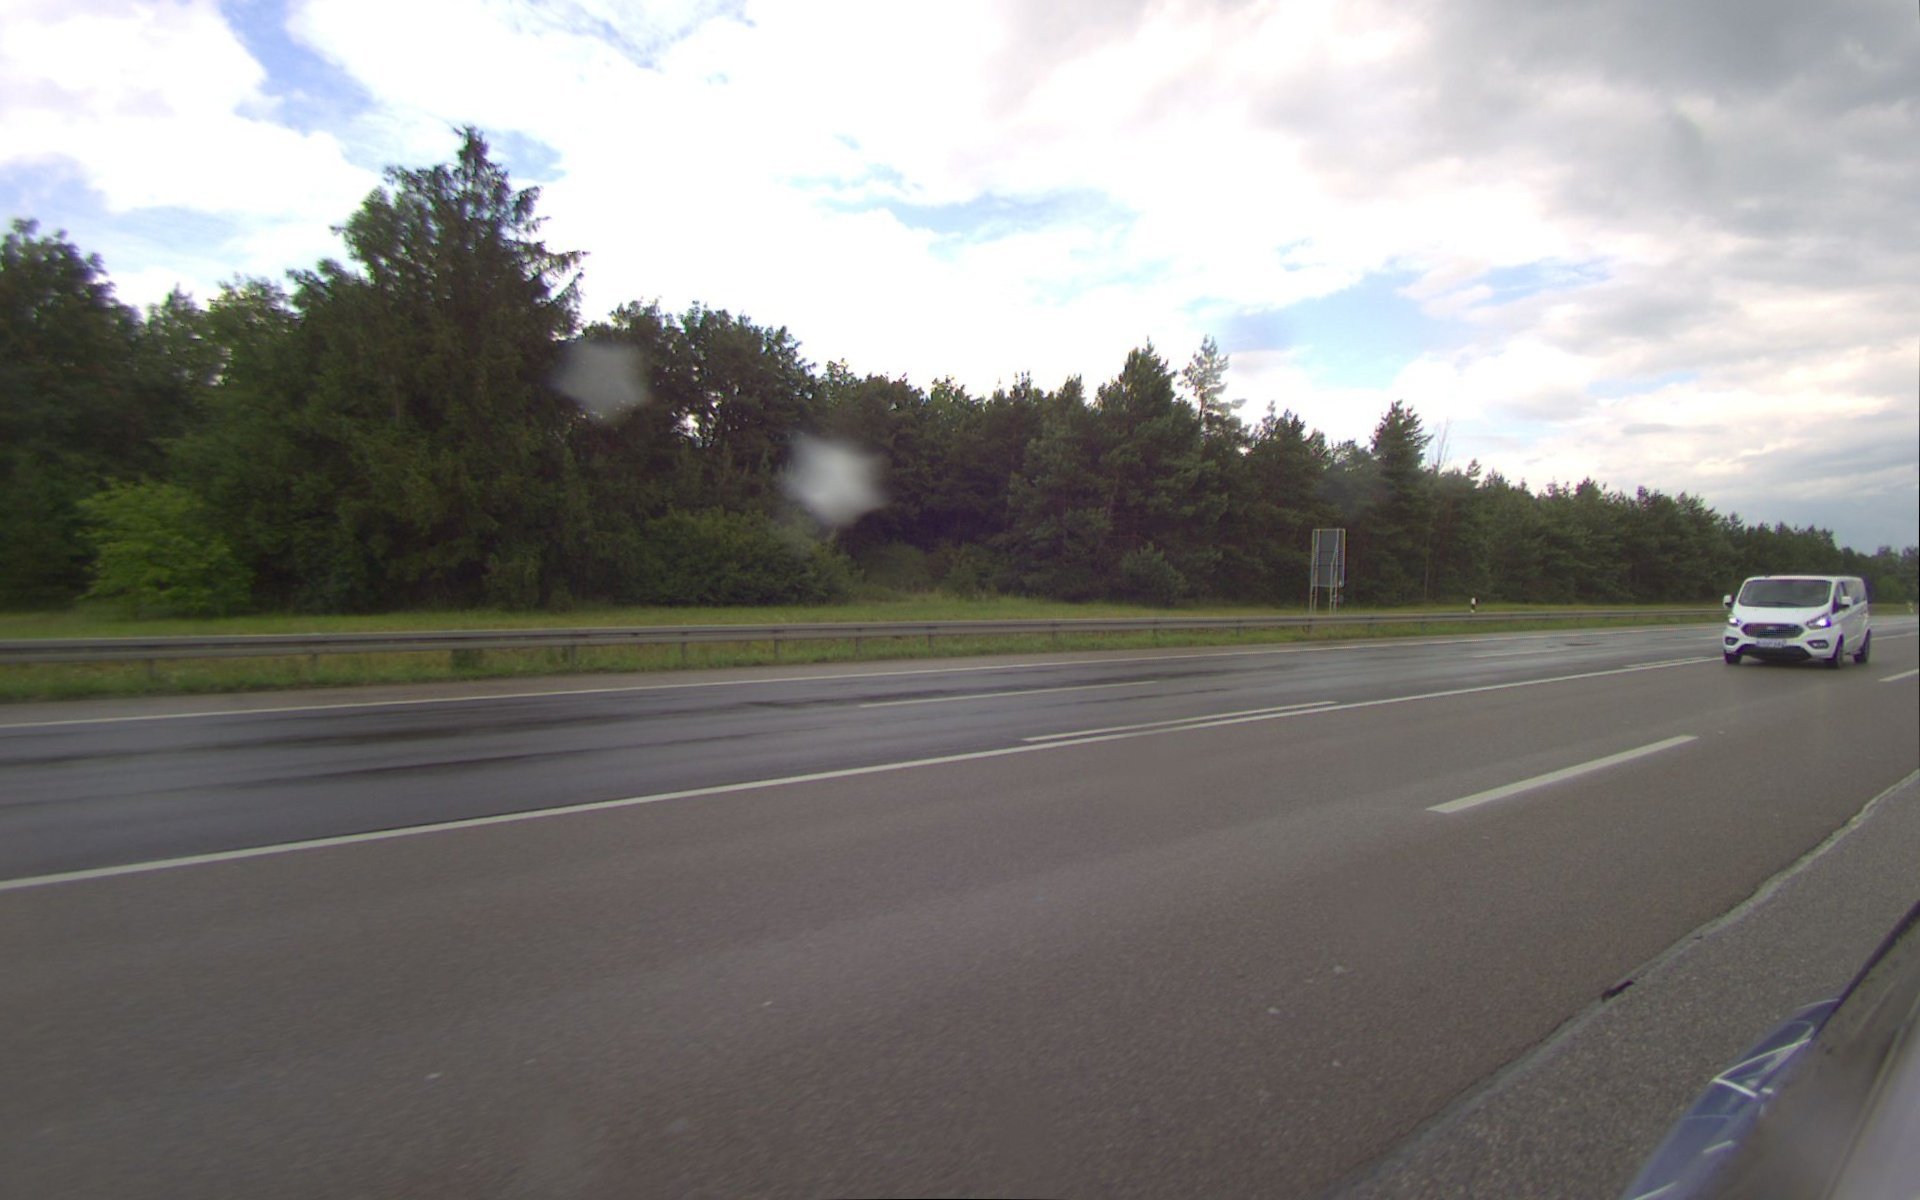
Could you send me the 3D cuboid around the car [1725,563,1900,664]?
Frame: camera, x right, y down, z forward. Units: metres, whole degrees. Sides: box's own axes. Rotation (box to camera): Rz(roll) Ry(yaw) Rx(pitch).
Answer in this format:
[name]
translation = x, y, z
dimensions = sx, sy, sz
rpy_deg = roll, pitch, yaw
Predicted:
[car]
translation = 19.491, 0.263, 23.049
dimensions = 5.382, 2.039, 1.998
rpy_deg = 0, 0, -38
